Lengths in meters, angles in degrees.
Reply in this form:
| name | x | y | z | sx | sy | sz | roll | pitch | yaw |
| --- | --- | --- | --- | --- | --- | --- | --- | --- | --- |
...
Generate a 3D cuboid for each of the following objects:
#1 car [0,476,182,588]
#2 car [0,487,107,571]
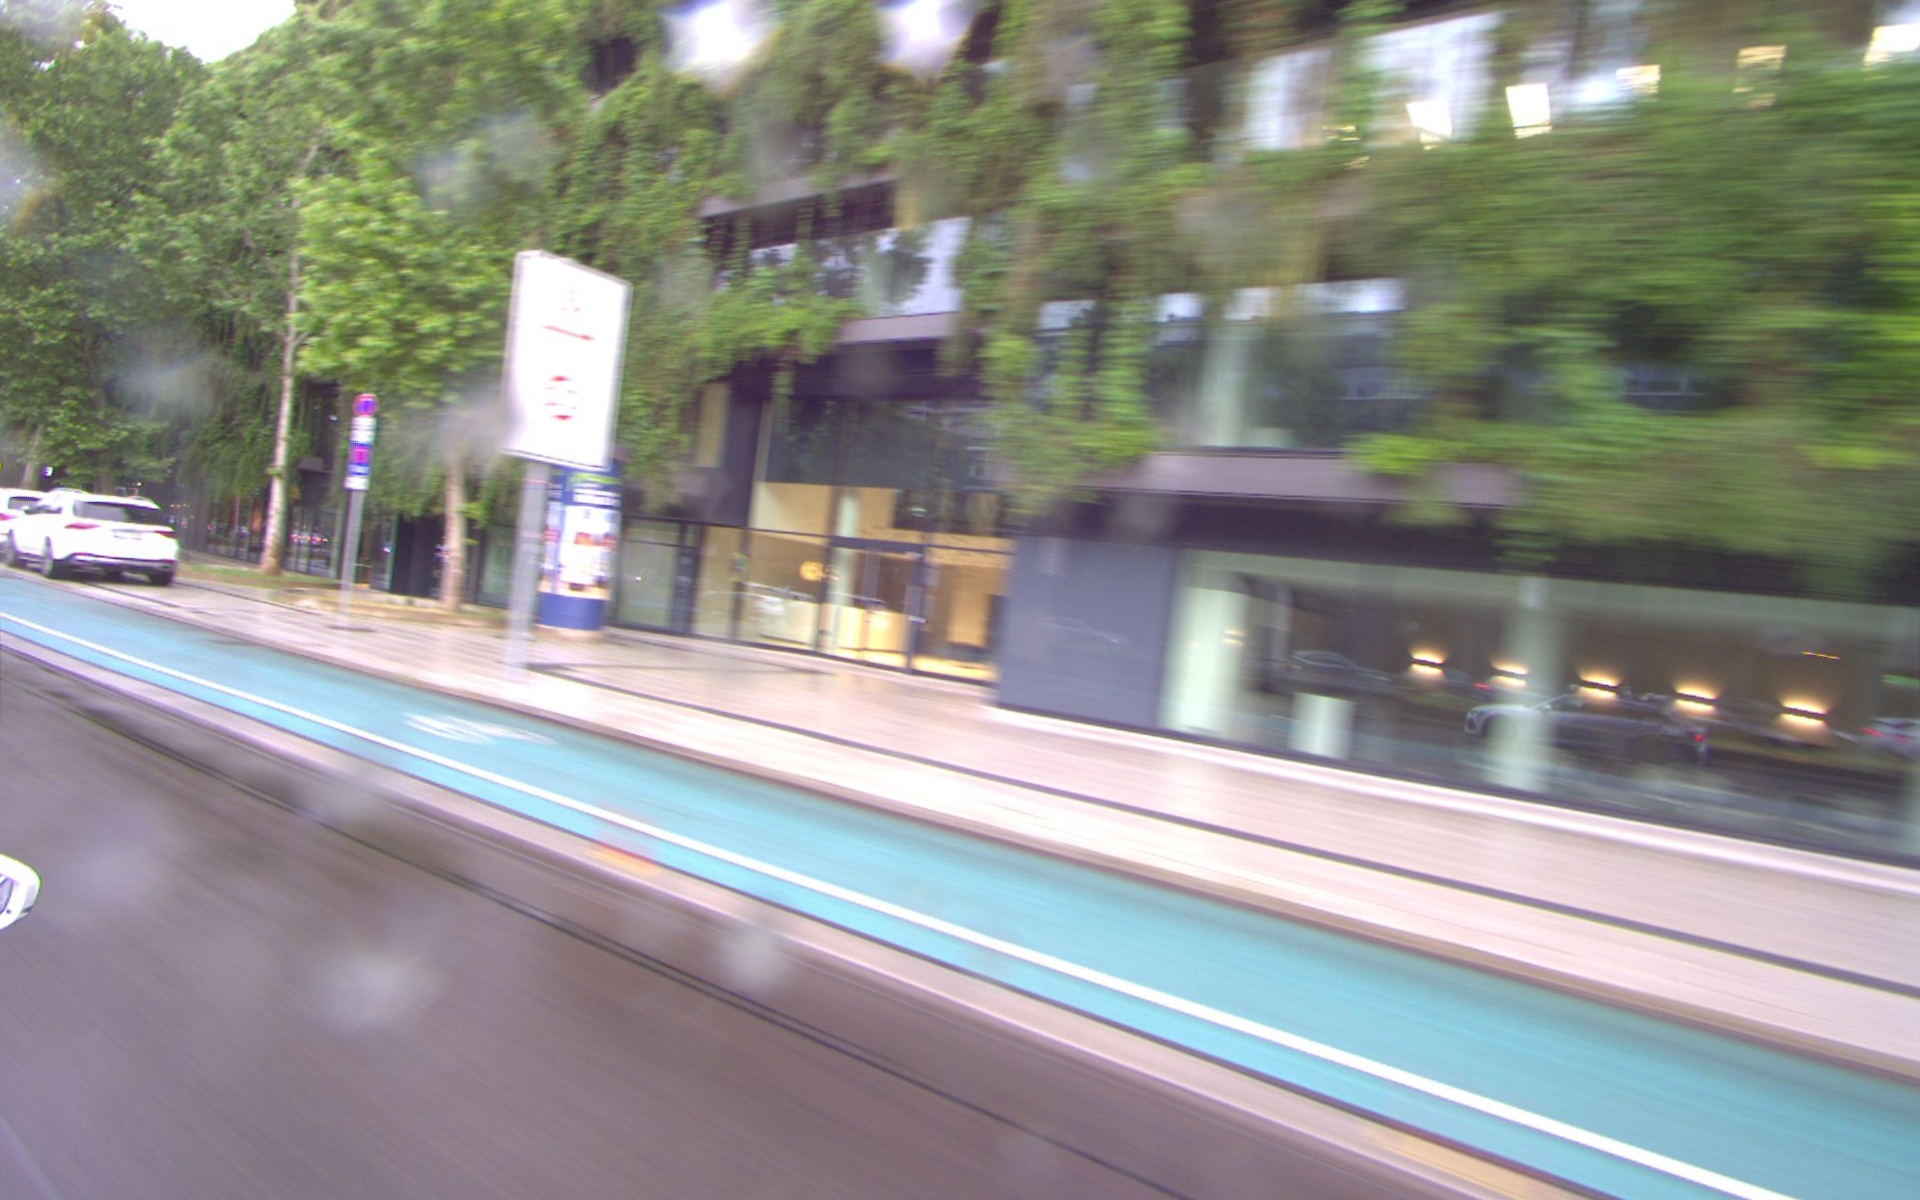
| name | x | y | z | sx | sy | sz | roll | pitch | yaw |
| --- | --- | --- | --- | --- | --- | --- | --- | --- | --- |
| car | -18.598 | -1.485 | 21.351 | 5.014 | 1.861 | 1.843 | 7 | 0 | 36 |
| car | -22.903 | -1.830 | 24.536 | 4.709 | 1.652 | 1.846 | 7 | -1 | 34 |
